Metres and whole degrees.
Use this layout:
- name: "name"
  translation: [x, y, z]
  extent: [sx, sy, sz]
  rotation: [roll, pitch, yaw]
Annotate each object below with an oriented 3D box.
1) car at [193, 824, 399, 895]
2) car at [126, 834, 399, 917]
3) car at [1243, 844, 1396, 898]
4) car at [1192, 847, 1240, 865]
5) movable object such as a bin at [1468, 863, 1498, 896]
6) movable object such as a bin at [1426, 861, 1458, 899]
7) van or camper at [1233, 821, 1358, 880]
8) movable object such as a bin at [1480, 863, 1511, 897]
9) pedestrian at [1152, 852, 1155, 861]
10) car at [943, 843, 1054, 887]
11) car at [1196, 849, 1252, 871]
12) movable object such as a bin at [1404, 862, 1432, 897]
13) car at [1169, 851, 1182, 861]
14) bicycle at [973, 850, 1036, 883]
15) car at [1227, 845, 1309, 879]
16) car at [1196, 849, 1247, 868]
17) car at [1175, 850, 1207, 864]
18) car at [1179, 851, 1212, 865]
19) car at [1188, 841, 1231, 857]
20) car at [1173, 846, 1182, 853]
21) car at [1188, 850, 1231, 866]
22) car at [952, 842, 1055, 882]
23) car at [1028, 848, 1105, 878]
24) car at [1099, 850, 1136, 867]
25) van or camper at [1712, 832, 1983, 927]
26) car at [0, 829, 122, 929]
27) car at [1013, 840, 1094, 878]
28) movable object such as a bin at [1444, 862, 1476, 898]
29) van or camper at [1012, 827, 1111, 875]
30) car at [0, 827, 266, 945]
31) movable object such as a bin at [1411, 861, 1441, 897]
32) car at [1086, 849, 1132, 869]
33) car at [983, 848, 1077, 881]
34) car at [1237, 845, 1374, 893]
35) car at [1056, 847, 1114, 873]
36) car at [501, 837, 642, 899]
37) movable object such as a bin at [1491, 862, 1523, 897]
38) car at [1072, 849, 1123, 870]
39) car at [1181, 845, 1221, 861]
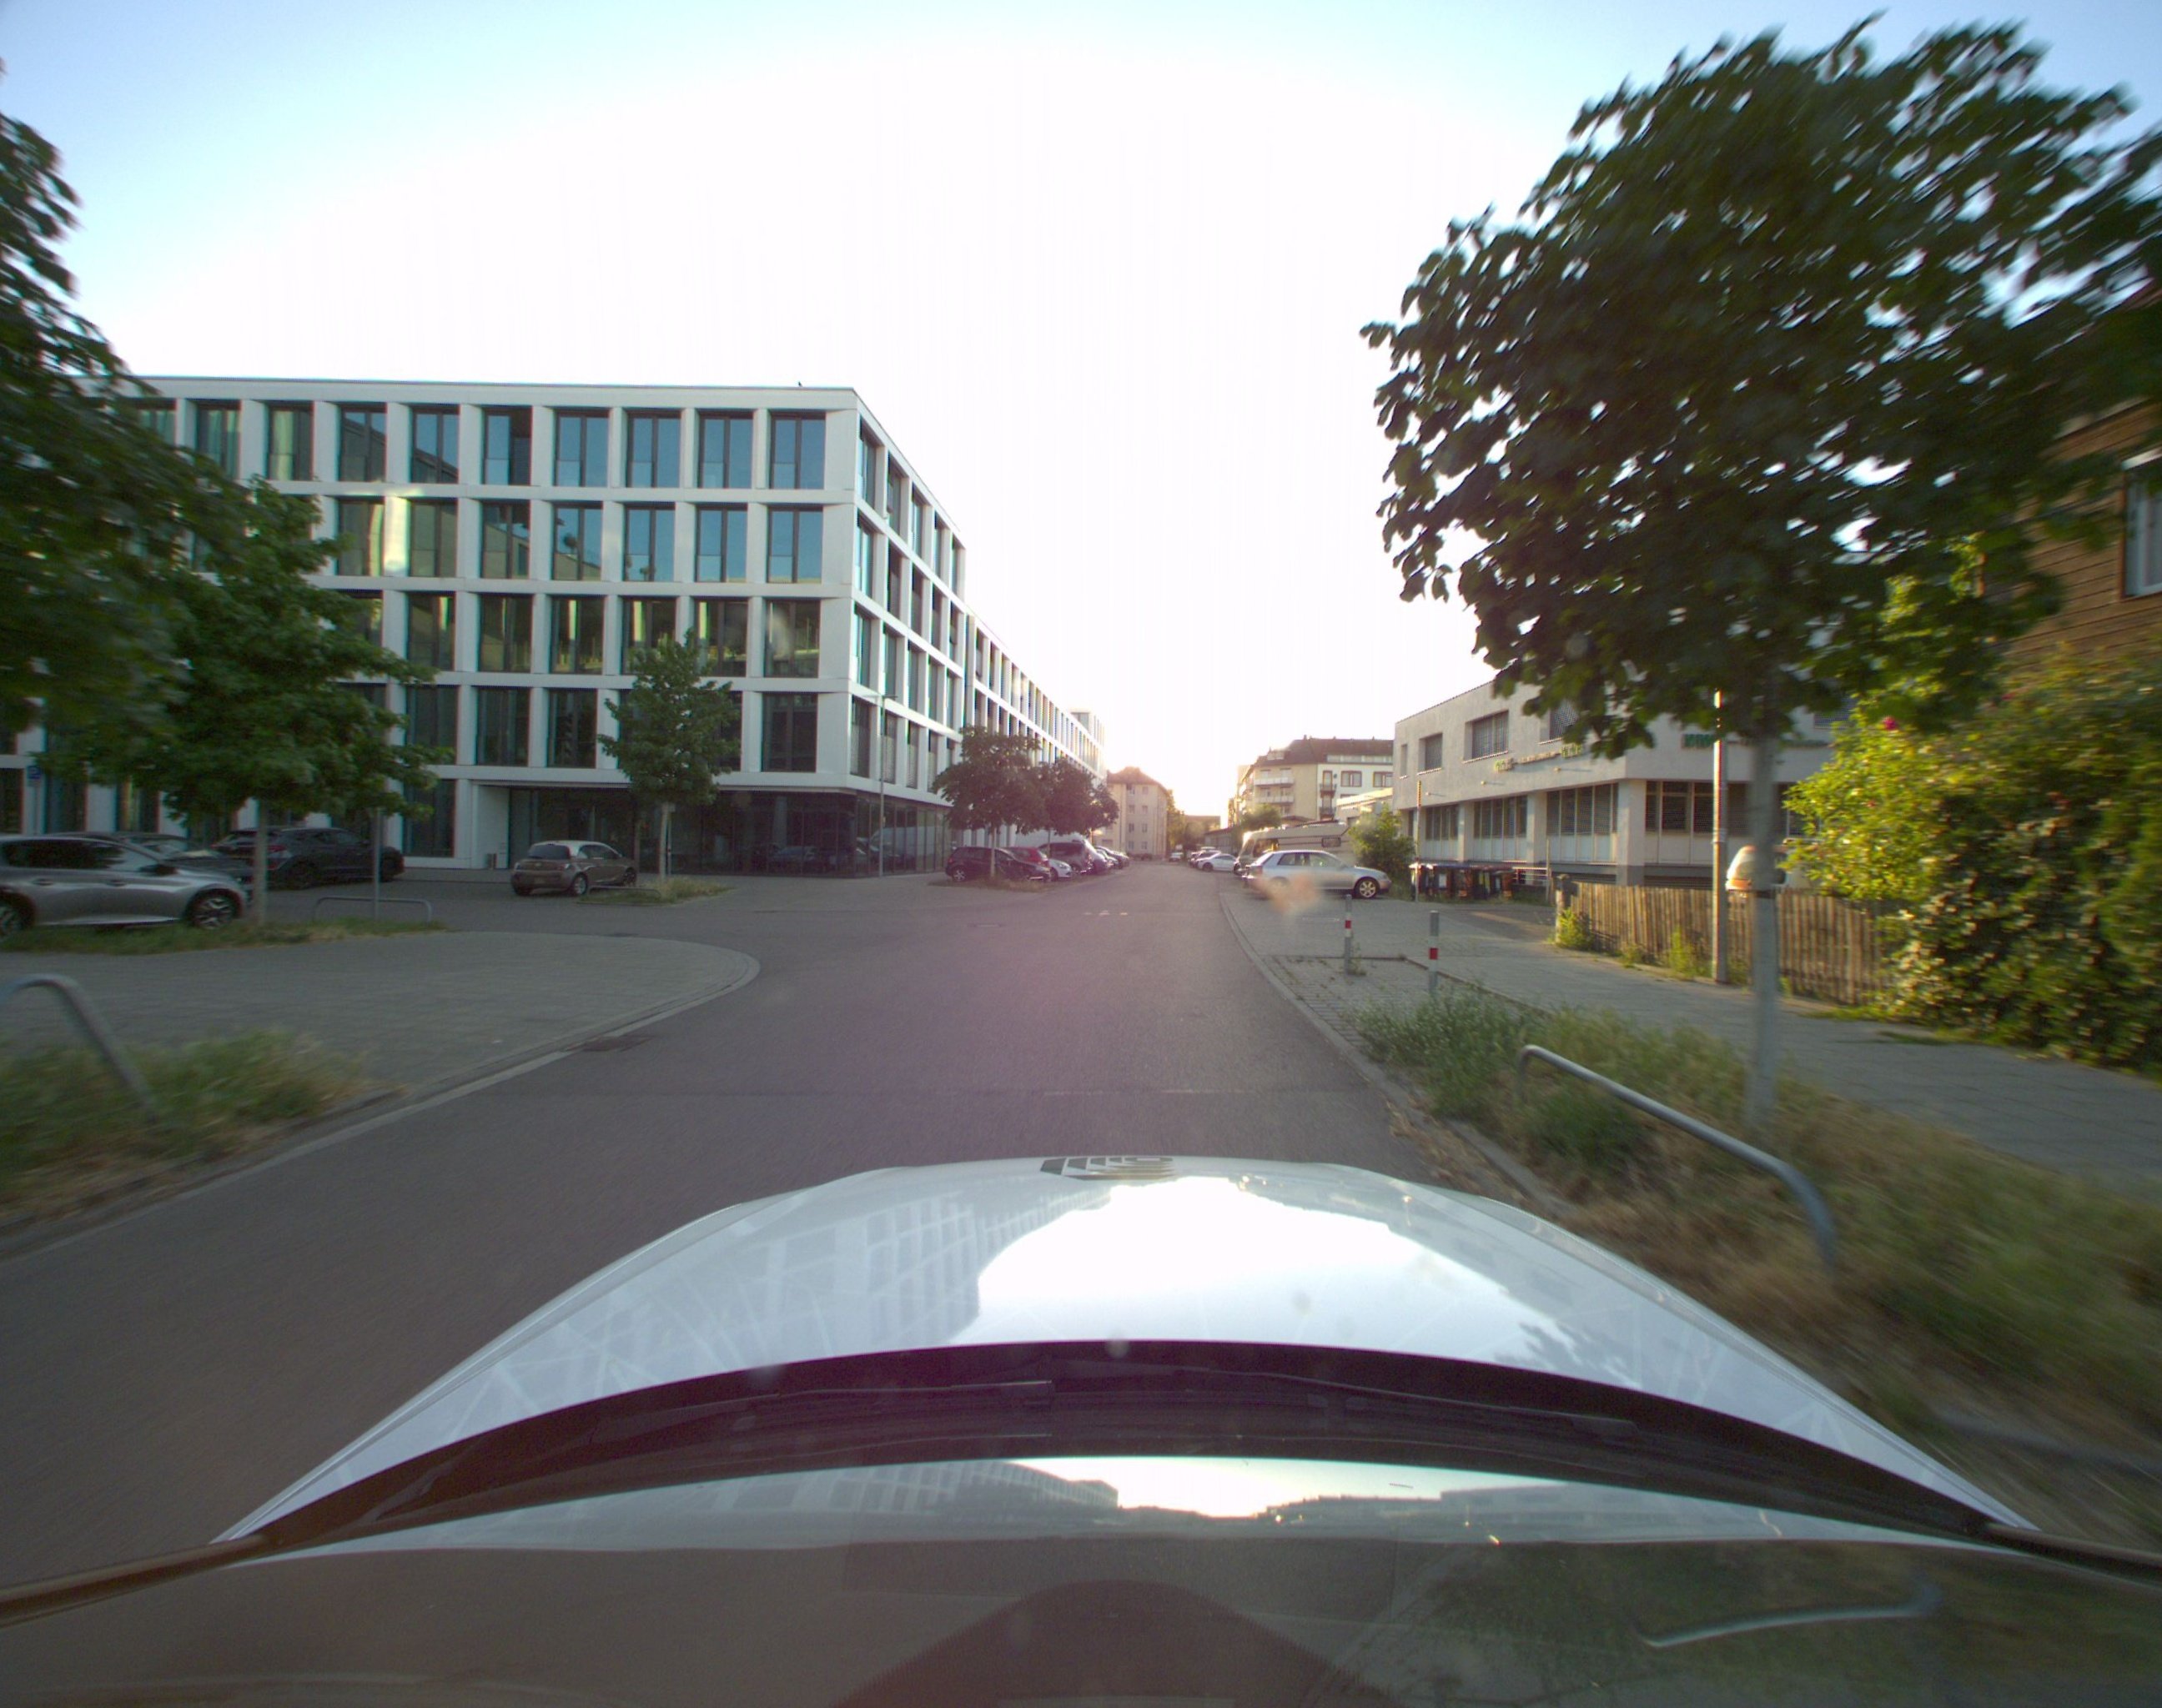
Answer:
- name: "car"
  translation: [-21.598, 0.056, 22.681]
  extent: [1.716, 1.716, 4.059]
  rotation: [1, 3, 1]
- name: "car"
  translation: [-16.445, 0.393, 16.511]
  extent: [3.739, 1.545, 1.768]
  rotation: [1, 1, 0]
- name: "car"
  translation: [6.957, 0.477, 24.049]
  extent: [4.033, 1.479, 1.769]
  rotation: [0, 1, 2]
- name: "car"
  translation: [12.101, 0.166, 73.165]
  extent: [4.033, 1.479, 1.769]
  rotation: [-1, 1, 2]
- name: "movable object such as a bin"
  translation: [12.241, 0.764, 24.798]
  extent: [0.576, 0.958, 0.689]
  rotation: [1, 1, 3]
- name: "movable object such as a bin"
  translation: [9.899, 0.708, 22.334]
  extent: [0.576, 1.010, 0.689]
  rotation: [1, 1, 3]
- name: "van or camper"
  translation: [10.483, -0.203, 40.136]
  extent: [5.585, 2.789, 2.432]
  rotation: [-1, 1, 3]
- name: "movable object such as a bin"
  translation: [12.203, 0.753, 23.994]
  extent: [0.576, 0.958, 0.689]
  rotation: [1, 1, 3]
- name: "pedestrian"
  translation: [11.553, 0.391, 129.836]
  extent: [0.499, 1.379, 0.455]
  rotation: [1, 0, 5]
- name: "car"
  translation: [-3.222, 0.401, 32.339]
  extent: [4.031, 1.478, 1.770]
  rotation: [3, 2, 5]
- name: "car"
  translation: [10.595, 0.439, 60.362]
  extent: [4.027, 1.479, 1.772]
  rotation: [0, 1, 7]
- name: "movable object such as a bin"
  translation: [10.013, 0.746, 24.228]
  extent: [0.576, 1.010, 0.689]
  rotation: [1, -1, 3]
- name: "car"
  translation: [15.211, 0.339, 131.382]
  extent: [1.940, 1.585, 3.647]
  rotation: [1, 0, 6]
- name: "bicycle"
  translation: [-2.815, 0.442, 30.231]
  extent: [2.167, 1.174, 0.813]
  rotation: [1, 0, 7]
- name: "car"
  translation: [9.981, 0.412, 43.599]
  extent: [3.975, 1.687, 1.763]
  rotation: [1, 0, -1]
- name: "car"
  translation: [11.739, 0.388, 68.222]
  extent: [4.033, 1.479, 1.769]
  rotation: [-1, 1, 2]
- name: "car"
  translation: [13.899, 0.389, 103.046]
  extent: [3.889, 1.644, 1.711]
  rotation: [-1, 1, 2]
- name: "car"
  translation: [13.770, 0.497, 98.175]
  extent: [3.771, 1.644, 1.698]
  rotation: [-1, 1, 2]
- name: "car"
  translation: [13.272, -0.526, 84.285]
  extent: [4.324, 1.644, 1.817]
  rotation: [-1, 1, 2]
- name: "car"
  translation: [20.690, -0.941, 174.984]
  extent: [1.733, 1.525, 3.558]
  rotation: [1, 0, 6]
- name: "car"
  translation: [12.652, 0.431, 80.314]
  extent: [4.033, 1.479, 1.769]
  rotation: [-1, 1, 2]
- name: "car"
  translation: [-3.305, 0.338, 35.172]
  extent: [4.027, 1.479, 1.771]
  rotation: [3, 0, 7]
- name: "car"
  translation: [-0.768, 0.477, 44.894]
  extent: [4.032, 1.524, 1.738]
  rotation: [-1, 1, 4]
- name: "car"
  translation: [3.053, 0.362, 67.982]
  extent: [2.998, 1.421, 1.461]
  rotation: [0, 1, 8]
- name: "van or camper"
  translation: [14.275, 0.437, 15.304]
  extent: [3.492, 1.634, 1.781]
  rotation: [1, 1, -3]
- name: "car"
  translation: [-16.875, 0.345, 11.554]
  extent: [1.774, 1.486, 3.933]
  rotation: [1, -1, 1]
- name: "car"
  translation: [-1.400, 0.252, 42.580]
  extent: [4.032, 1.908, 1.738]
  rotation: [-1, 1, 4]
- name: "movable object such as a bin"
  translation: [10.580, 0.710, 22.733]
  extent: [0.576, 0.958, 0.689]
  rotation: [1, 1, 3]
- name: "van or camper"
  translation: [-1.100, -0.210, 47.547]
  extent: [5.422, 2.483, 1.779]
  rotation: [3, 1, 7]
- name: "car"
  translation: [-14.447, 0.406, 11.528]
  extent: [1.774, 1.486, 3.933]
  rotation: [1, -1, 1]
- name: "movable object such as a bin"
  translation: [9.762, 0.717, 23.077]
  extent: [0.576, 1.011, 0.689]
  rotation: [1, -4, 3]
- name: "car"
  translation: [2.269, 0.397, 65.607]
  extent: [3.540, 1.479, 1.461]
  rotation: [0, 1, 8]
- name: "car"
  translation: [-2.321, 0.472, 37.744]
  extent: [4.027, 1.479, 1.772]
  rotation: [0, 1, 8]
- name: "car"
  translation: [7.257, 0.469, 26.573]
  extent: [4.033, 1.479, 1.769]
  rotation: [-1, 1, 2]
- name: "car"
  translation: [0.263, 0.379, 52.293]
  extent: [3.540, 1.652, 1.461]
  rotation: [0, 1, 8]
- name: "car"
  translation: [-14.260, 0.320, 23.050]
  extent: [1.716, 1.485, 3.552]
  rotation: [1, 3, 1]
- name: "movable object such as a bin"
  translation: [12.174, 0.721, 23.282]
  extent: [0.576, 0.958, 0.689]
  rotation: [1, 1, 3]
- name: "car"
  translation: [1.235, 0.368, 59.481]
  extent: [3.540, 1.479, 1.461]
  rotation: [0, 1, 8]
- name: "car"
  translation: [13.540, -0.113, 91.760]
  extent: [4.324, 1.644, 1.817]
  rotation: [-1, 1, 2]
